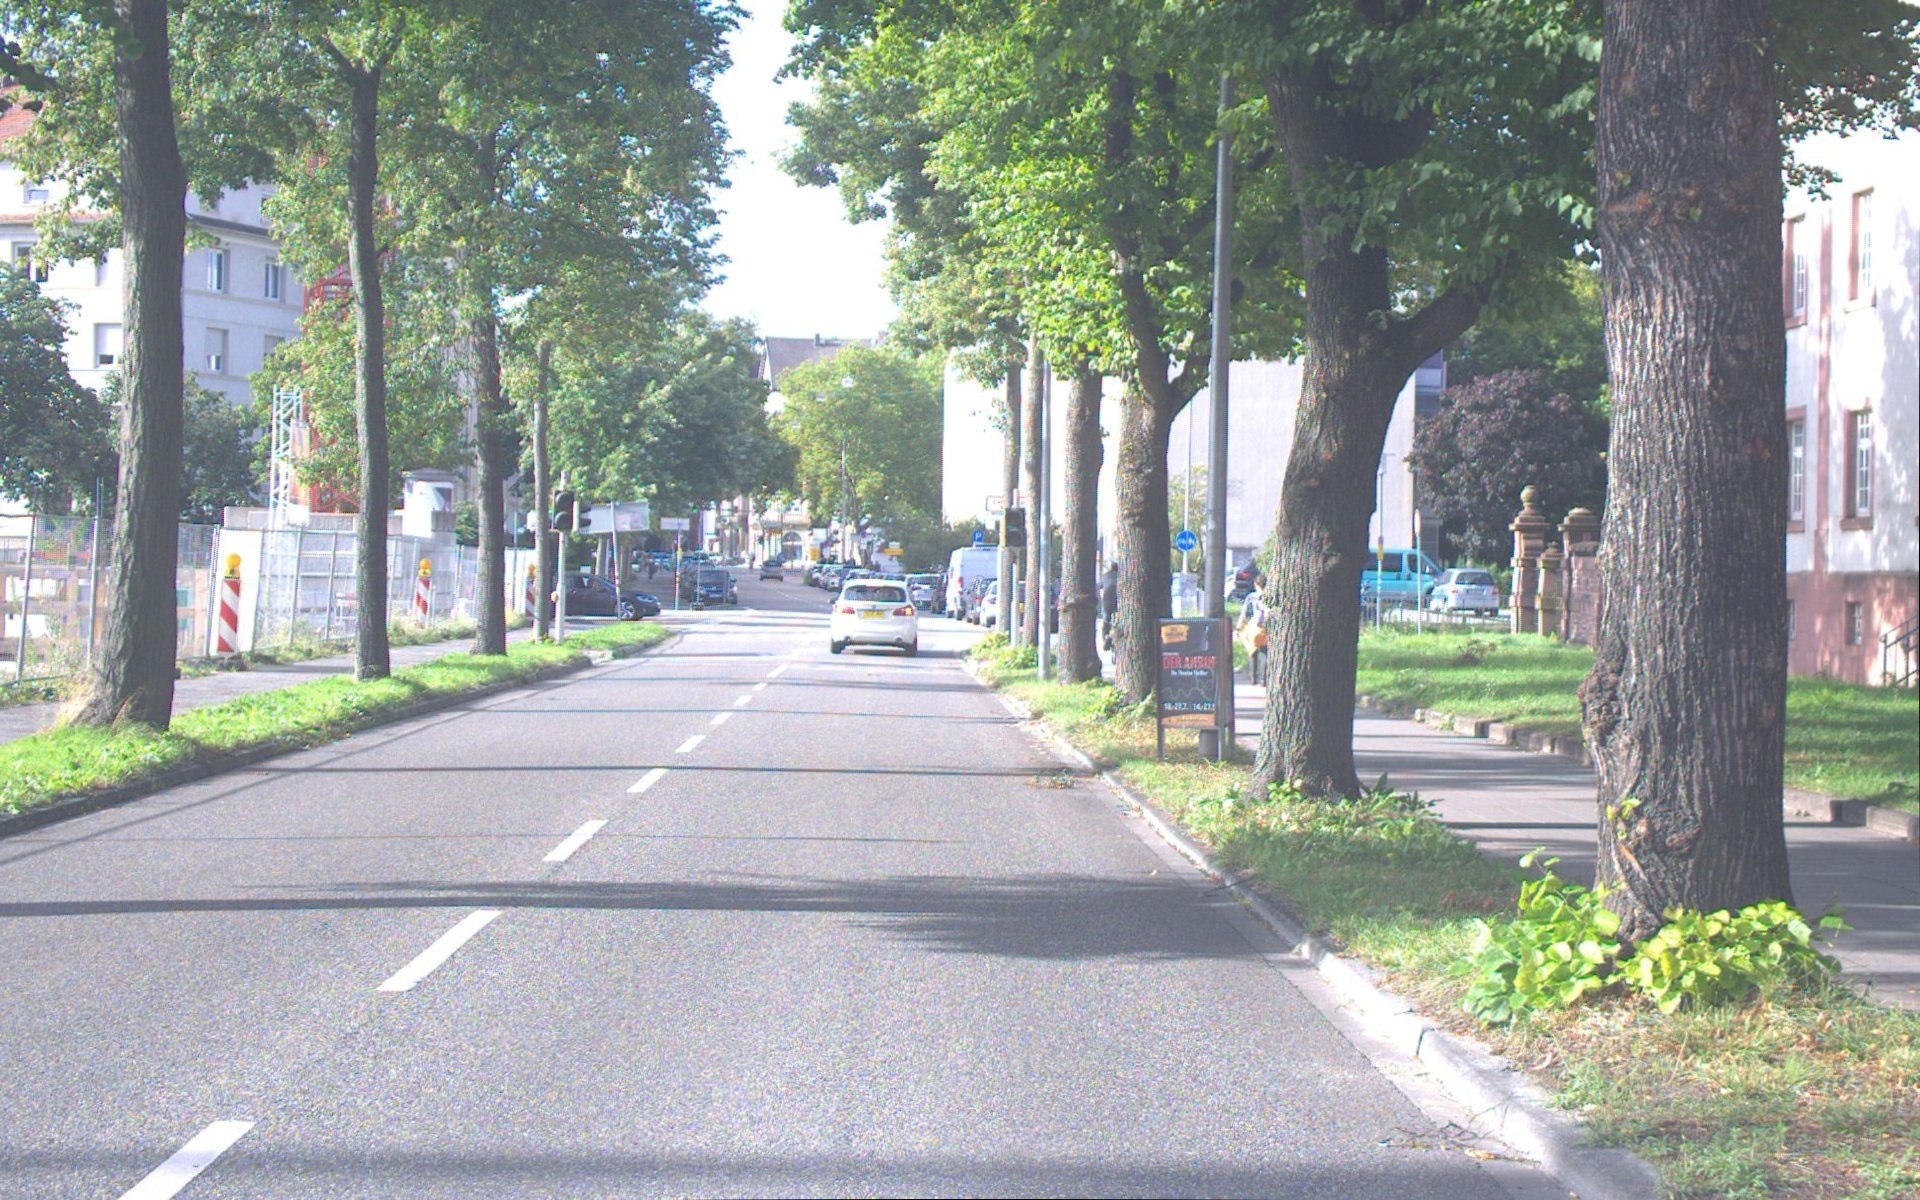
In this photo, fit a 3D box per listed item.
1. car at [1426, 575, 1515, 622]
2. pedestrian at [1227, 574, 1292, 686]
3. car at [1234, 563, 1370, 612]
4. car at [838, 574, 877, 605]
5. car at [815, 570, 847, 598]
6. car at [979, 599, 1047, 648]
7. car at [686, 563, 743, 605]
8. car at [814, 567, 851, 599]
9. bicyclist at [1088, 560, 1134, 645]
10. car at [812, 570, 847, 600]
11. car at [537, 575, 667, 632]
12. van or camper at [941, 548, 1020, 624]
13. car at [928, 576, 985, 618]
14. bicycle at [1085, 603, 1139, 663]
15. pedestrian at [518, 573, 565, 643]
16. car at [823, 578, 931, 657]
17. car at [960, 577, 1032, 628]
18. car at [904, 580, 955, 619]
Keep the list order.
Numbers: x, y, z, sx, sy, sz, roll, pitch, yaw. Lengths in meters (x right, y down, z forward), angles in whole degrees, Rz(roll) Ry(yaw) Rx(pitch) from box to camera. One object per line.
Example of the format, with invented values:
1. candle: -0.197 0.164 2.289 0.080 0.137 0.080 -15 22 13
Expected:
1. car: 16.345 -0.066 110.259 1.993 1.437 4.001 0 1 -4
2. pedestrian: 4.320 0.422 49.620 0.814 1.585 0.769 -1 0 -2
3. car: 11.560 -0.421 116.397 4.448 1.616 2.000 0 1 2
4. car: -5.371 -0.576 179.281 1.993 1.568 4.000 0 1 -2
5. car: -8.563 -1.064 229.110 1.993 1.749 4.000 2 0 -1
6. car: 1.627 0.722 107.644 2.015 1.470 4.802 0 0 0
7. car: -9.821 -0.642 137.175 1.993 1.634 4.001 0 1 -8
8. car: -7.240 -0.947 195.272 1.993 1.749 4.000 2 0 -1
9. bicyclist: 2.737 0.050 62.199 0.737 1.508 0.874 -1 0 -2
10. car: -7.900 -0.909 208.561 1.993 1.749 4.000 2 0 -1
11. car: -10.454 0.105 100.668 1.996 1.565 3.995 2 0 24
12. van or camper: 0.689 -0.502 120.715 2.209 2.598 5.372 0 1 -5
13. car: -0.144 -0.118 131.938 1.993 1.568 4.000 0 1 -2
14. bicycle: 2.746 0.587 62.162 0.740 1.031 2.762 -1 0 -2
15. pedestrian: -10.492 0.198 86.208 1.006 1.722 1.178 2 -1 -13
16. car: -1.786 0.361 73.001 1.993 1.549 4.274 2 0 -5
17. car: 1.190 0.068 114.996 1.993 1.610 4.409 0 1 -5
18. car: -1.268 -0.022 142.475 1.993 1.568 4.000 0 1 -2
